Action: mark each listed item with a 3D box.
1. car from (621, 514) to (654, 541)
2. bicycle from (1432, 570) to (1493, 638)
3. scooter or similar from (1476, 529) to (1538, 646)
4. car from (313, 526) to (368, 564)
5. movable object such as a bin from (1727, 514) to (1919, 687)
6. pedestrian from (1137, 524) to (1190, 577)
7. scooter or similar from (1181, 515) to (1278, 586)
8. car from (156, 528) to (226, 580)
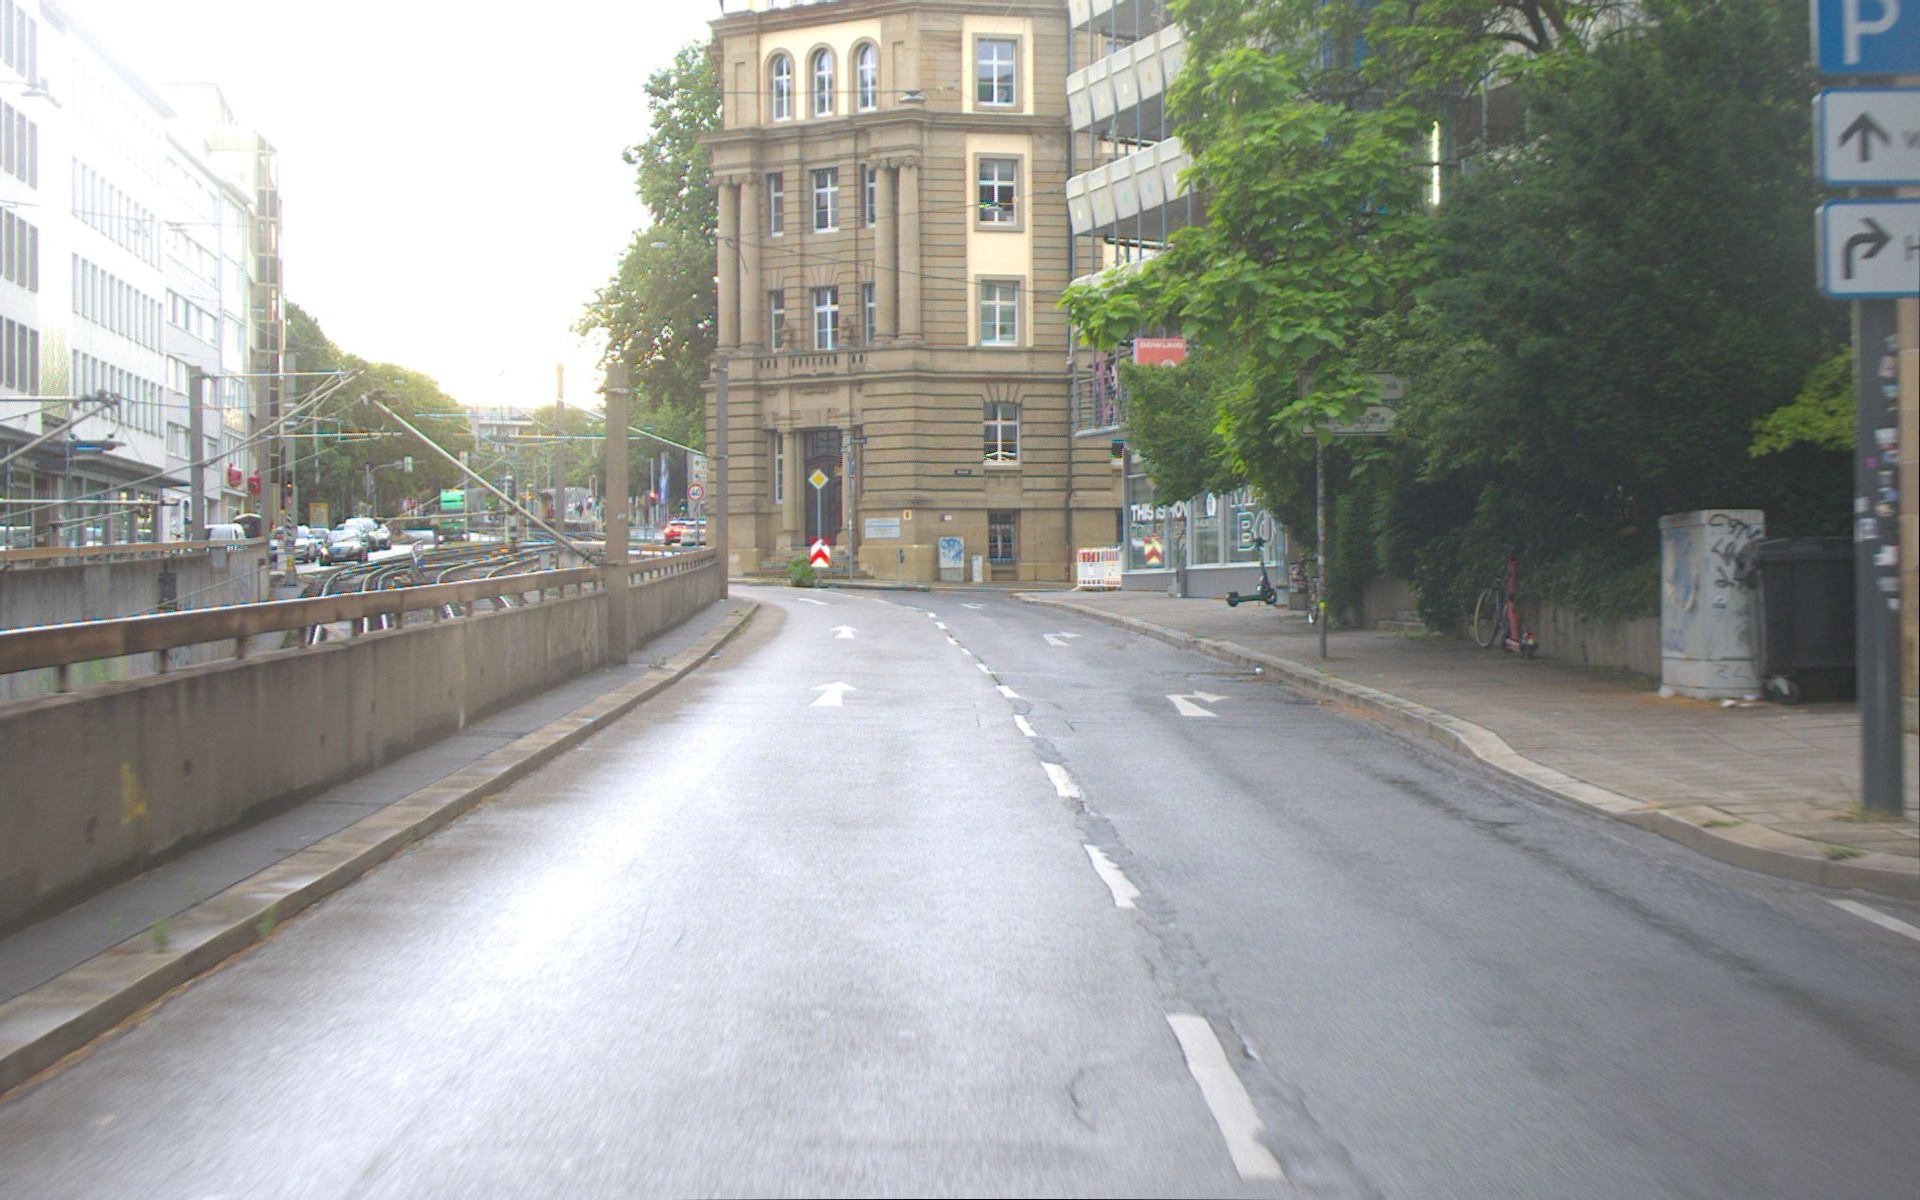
[{"bbox_3d":[-19.985,-4.497,212.965,1.993,1.656,4.001,1,1,-6],"label":"car"},{"bbox_3d":[5.898,0.038,40.407,0.500,0.751,1.211,-2,1,-1],"label":"bicycle"},{"bbox_3d":[6.033,-0.146,37.954,0.447,1.255,1.211,-2,1,-1],"label":"scooter or similar"},{"bbox_3d":[-25.598,-2.276,142.086,1.993,1.522,3.664,1,1,-6],"label":"car"},{"bbox_3d":[6.913,-0.008,27.485,1.239,1.305,1.234,-2,1,0],"label":"movable object such as a bin"},{"bbox_3d":[4.416,-1.078,74.662,0.752,1.119,1.247,1,1,-15],"label":"pedestrian"},{"bbox_3d":[5.037,-0.933,64.201,1.635,1.263,0.743,-2,2,-26],"label":"scooter or similar"},{"bbox_3d":[-28.514,-1.735,127.545,1.993,1.876,4.928,1,1,-6],"label":"car"}]
